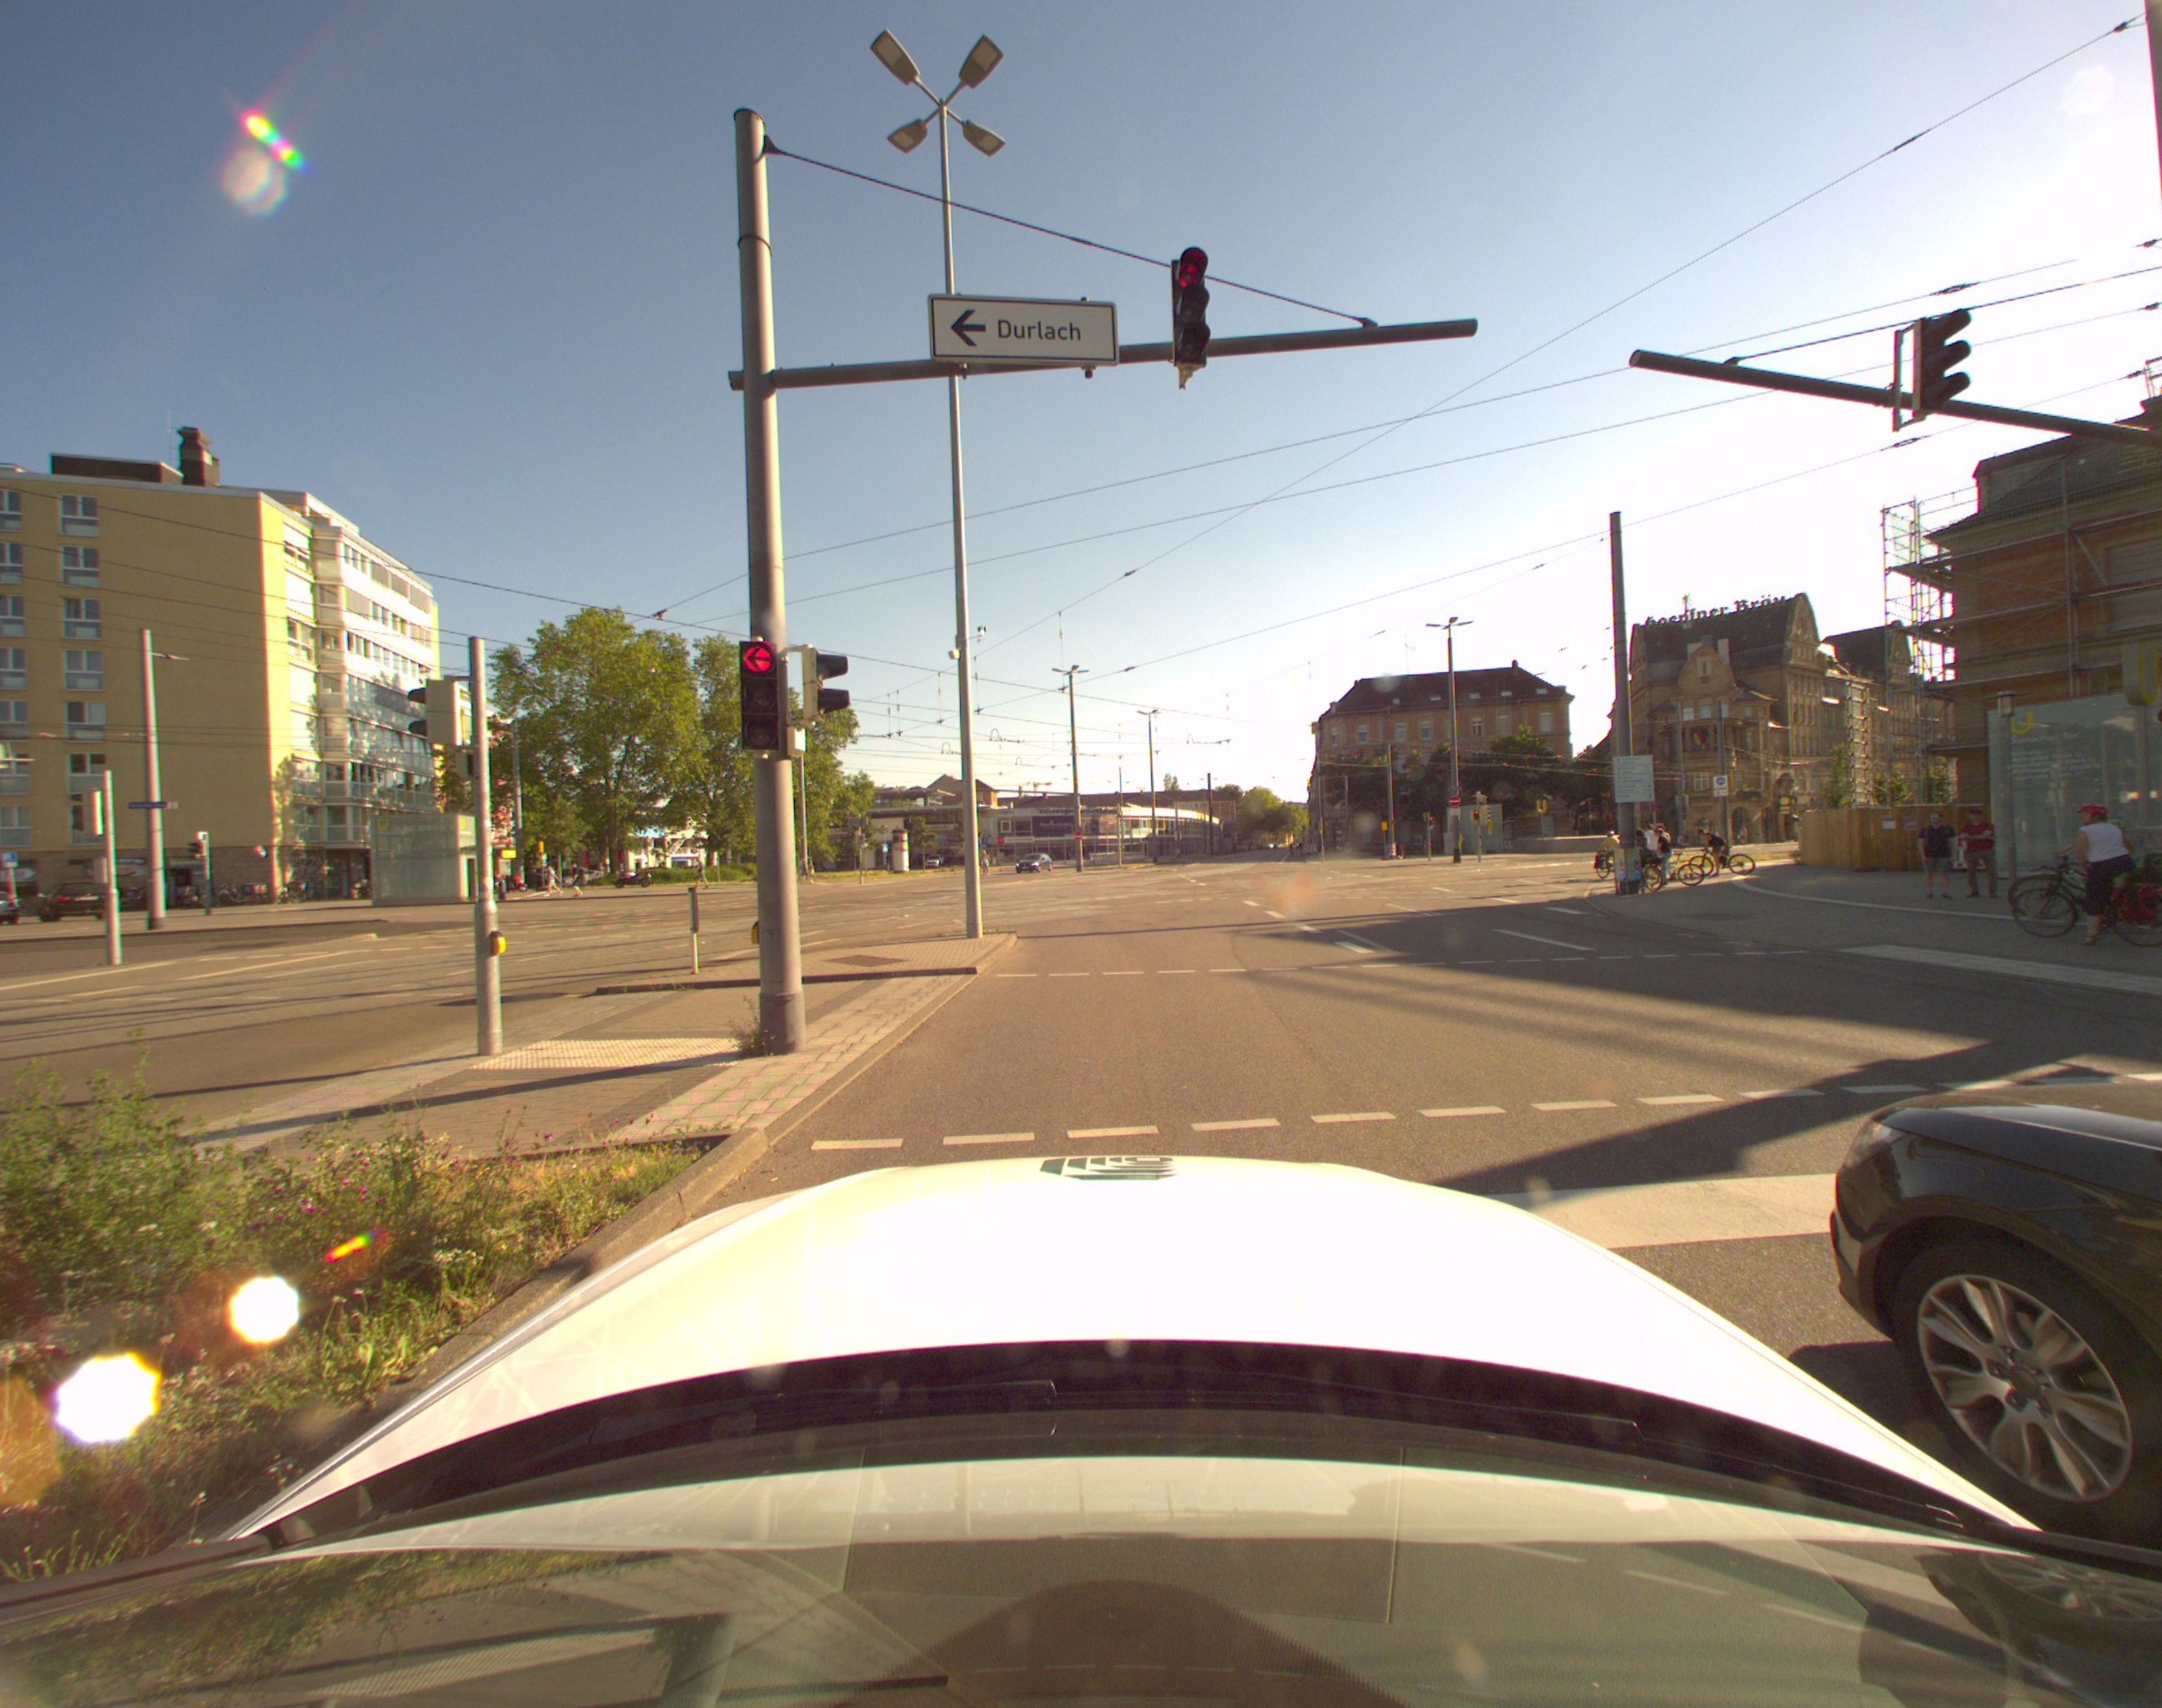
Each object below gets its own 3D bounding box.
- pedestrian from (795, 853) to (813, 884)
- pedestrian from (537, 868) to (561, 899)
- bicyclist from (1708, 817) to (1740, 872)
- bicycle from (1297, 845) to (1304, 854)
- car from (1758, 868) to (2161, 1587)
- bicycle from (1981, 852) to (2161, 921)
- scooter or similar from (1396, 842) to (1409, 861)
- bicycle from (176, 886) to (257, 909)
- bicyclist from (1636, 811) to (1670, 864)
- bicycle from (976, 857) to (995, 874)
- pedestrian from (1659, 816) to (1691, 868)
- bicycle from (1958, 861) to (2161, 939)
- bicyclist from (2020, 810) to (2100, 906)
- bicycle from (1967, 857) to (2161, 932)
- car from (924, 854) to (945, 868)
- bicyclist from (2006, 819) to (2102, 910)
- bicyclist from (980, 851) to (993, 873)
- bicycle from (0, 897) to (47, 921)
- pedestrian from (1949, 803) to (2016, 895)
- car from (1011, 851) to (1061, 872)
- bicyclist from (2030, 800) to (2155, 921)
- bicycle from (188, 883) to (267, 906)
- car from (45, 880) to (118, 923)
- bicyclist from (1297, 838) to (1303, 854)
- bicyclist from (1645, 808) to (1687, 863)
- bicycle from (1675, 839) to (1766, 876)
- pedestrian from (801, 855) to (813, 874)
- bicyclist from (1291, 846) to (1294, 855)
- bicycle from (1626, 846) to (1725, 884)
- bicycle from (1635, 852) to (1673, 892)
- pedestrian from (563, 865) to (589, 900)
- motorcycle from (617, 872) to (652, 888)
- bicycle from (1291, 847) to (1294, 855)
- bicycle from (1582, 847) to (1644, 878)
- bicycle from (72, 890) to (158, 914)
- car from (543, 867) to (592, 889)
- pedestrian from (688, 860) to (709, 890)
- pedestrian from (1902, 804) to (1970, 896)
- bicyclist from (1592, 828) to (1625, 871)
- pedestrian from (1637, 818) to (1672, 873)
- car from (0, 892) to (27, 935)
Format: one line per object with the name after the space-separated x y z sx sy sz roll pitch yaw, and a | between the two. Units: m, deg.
-17.524 0.915 51.482 0.790 1.886 0.760 -1 -1 9 | pedestrian
-29.091 1.604 44.524 0.790 1.706 0.760 -1 -1 9 | pedestrian
21.109 -0.303 26.754 0.785 1.779 0.526 -1 -1 37 | bicyclist
24.239 -0.505 90.014 0.652 0.952 1.607 -1 -1 17 | bicycle
2.906 0.733 0.576 1.617 1.404 4.001 0 0 2 | car
15.508 0.479 12.591 0.661 0.963 2.018 -4 1 -25 | bicycle
24.746 -0.185 62.726 0.780 1.376 1.916 -1 -1 16 | scooter or similar
-46.236 2.327 43.596 3.041 1.151 0.637 0 -1 -16 | bicycle
16.054 -0.455 22.867 0.701 1.439 0.953 -1 -1 31 | bicyclist
-7.045 0.849 59.965 0.607 1.189 1.878 -1 -1 19 | bicycle
22.247 -0.431 30.502 0.646 1.922 0.689 0 -1 -6 | pedestrian
13.460 0.584 11.139 0.656 0.963 2.033 0 -1 -3 | bicycle
15.394 0.063 12.811 0.619 1.454 0.667 0 -1 -27 | bicyclist
14.458 0.546 11.921 0.657 0.963 2.033 -4 0 -3 | bicycle
-17.934 0.868 99.878 1.988 1.750 3.997 0 -1 -1 | car
14.435 0.155 12.098 0.614 1.315 0.673 0 -1 -3 | bicyclist
-6.976 0.574 60.184 0.593 1.615 0.827 -1 -1 19 | bicyclist
-54.477 2.808 41.094 3.041 1.151 0.637 0 -1 -16 | bicycle
18.163 -0.094 16.419 0.672 1.807 0.680 0 -1 -19 | pedestrian
-3.366 0.557 61.928 1.975 1.585 4.024 -1 -1 29 | car
13.474 0.080 10.876 0.664 1.553 0.794 0 -1 -3 | bicyclist
-46.323 2.179 44.233 3.041 1.151 0.637 0 -1 -16 | bicycle
-44.256 2.063 36.046 3.948 1.706 1.730 -1 -1 35 | car
24.250 -0.862 90.084 0.516 1.700 0.517 0 -1 4 | bicyclist
17.169 -0.522 23.921 0.935 1.557 0.715 -1 -1 32 | bicyclist
21.013 0.131 26.817 2.290 1.049 0.539 -5 -1 36 | bicycle
-24.110 0.940 71.647 0.854 1.694 0.497 0 -1 -1 | pedestrian
26.519 -0.426 102.219 0.405 1.116 0.400 -1 -1 13 | bicyclist
17.332 0.319 23.828 2.290 1.049 0.705 -1 -1 32 | bicycle
16.018 0.476 22.797 0.692 1.049 2.335 0 1 31 | bicycle
-25.037 1.391 40.363 0.790 1.706 0.760 -1 -1 9 | pedestrian
-27.257 1.573 49.767 1.779 0.914 0.675 0 -1 -19 | motorcycle
26.555 -0.336 102.333 0.407 0.941 1.852 -1 -1 15 | bicycle
19.243 0.296 29.511 0.533 1.049 2.315 0 1 -6 | bicycle
-50.360 2.484 42.497 3.041 1.151 0.637 0 -1 -16 | bicycle
-37.299 1.714 59.250 1.772 1.567 3.983 0 -1 -12 | car
-22.300 1.209 47.471 0.790 1.706 0.760 -1 -1 9 | pedestrian
17.345 -0.087 16.525 0.672 1.807 0.680 -3 0 -19 | pedestrian
19.216 -0.160 29.688 0.514 1.557 0.945 0 -1 -6 | bicyclist
21.308 -0.317 30.284 0.730 2.014 0.760 0 -1 -6 | pedestrian
-47.051 2.539 34.942 3.948 1.706 2.013 -1 -1 35 | car
